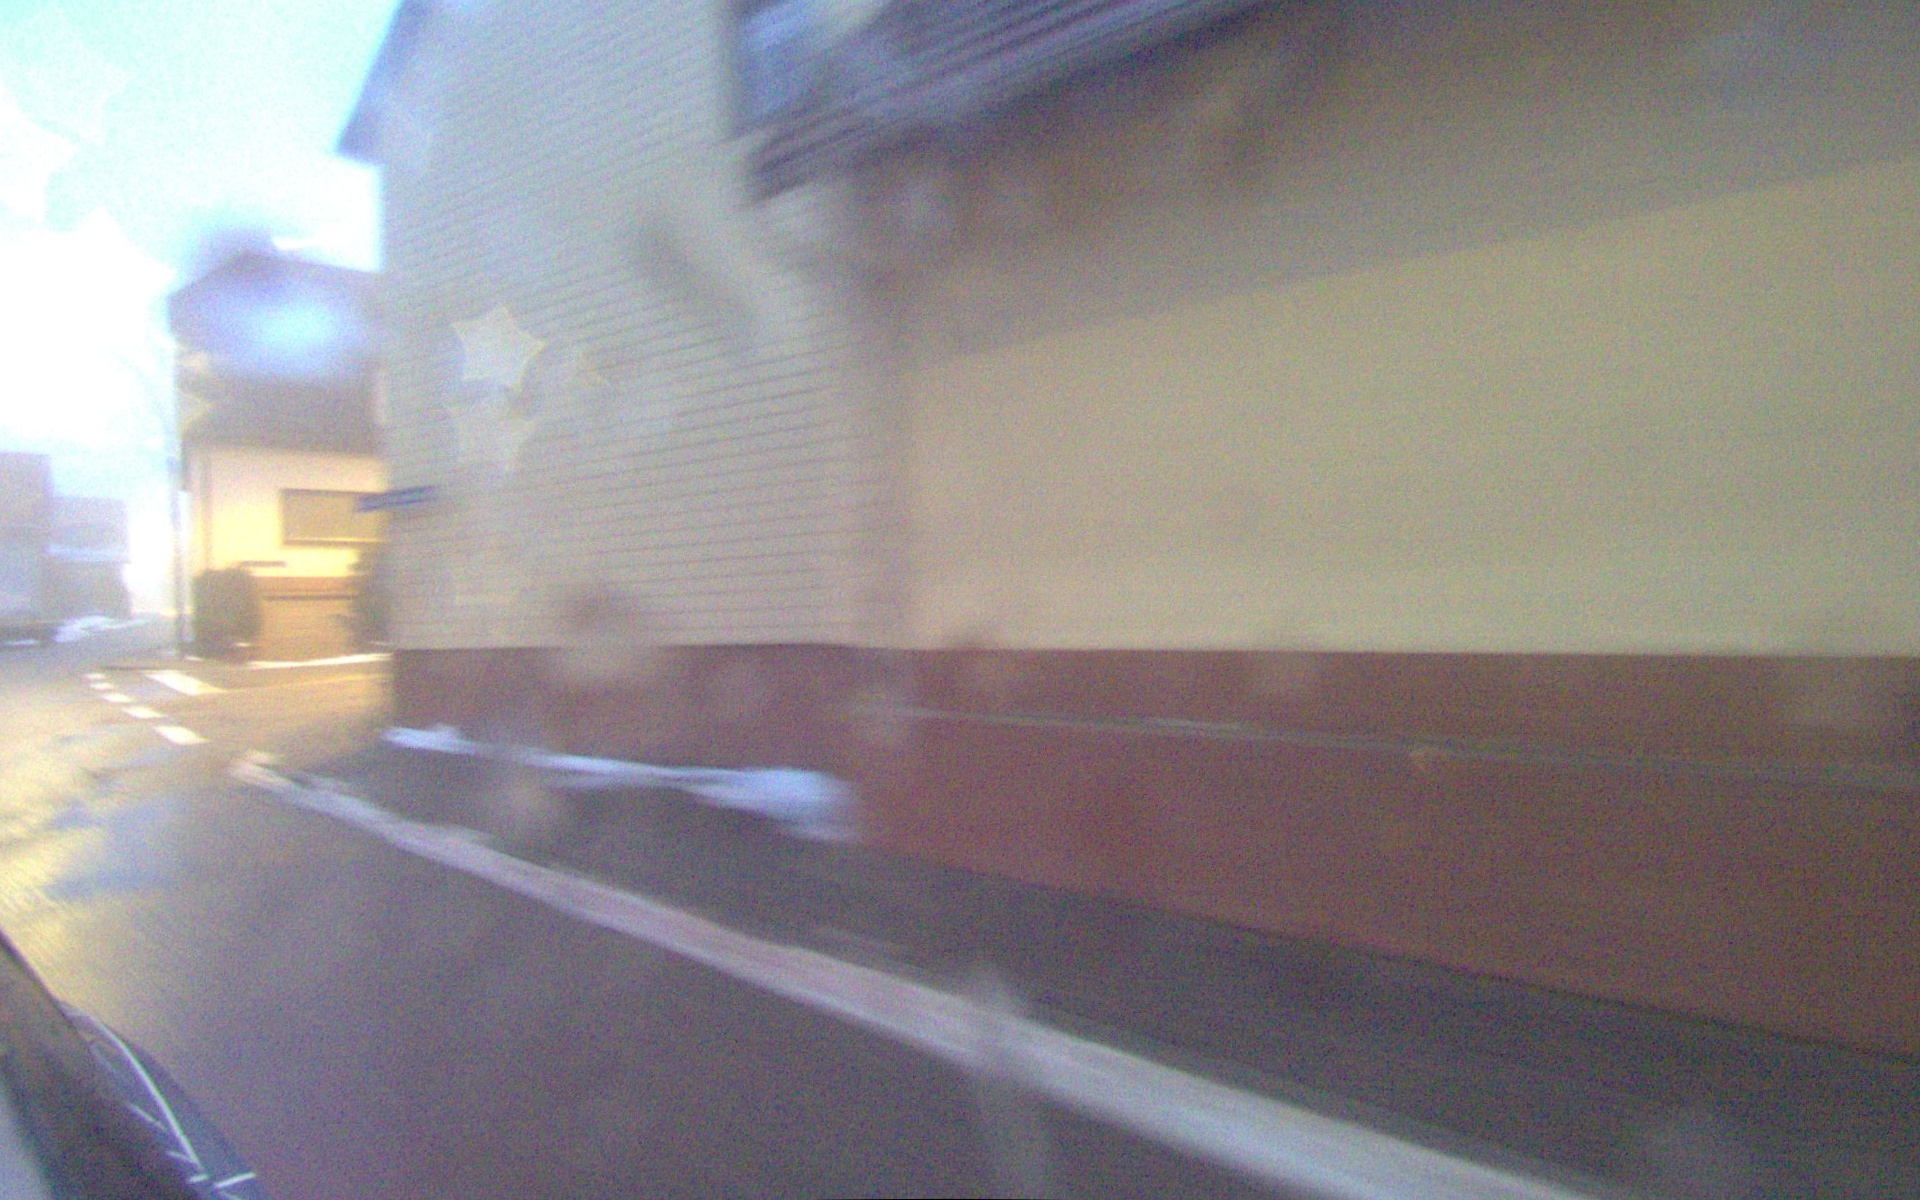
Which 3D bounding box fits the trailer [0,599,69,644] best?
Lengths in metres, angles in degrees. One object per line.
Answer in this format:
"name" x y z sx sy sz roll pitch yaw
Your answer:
"trailer" -32.673 0.729 34.870 1.966 1.398 4.746 -4 2 -30
